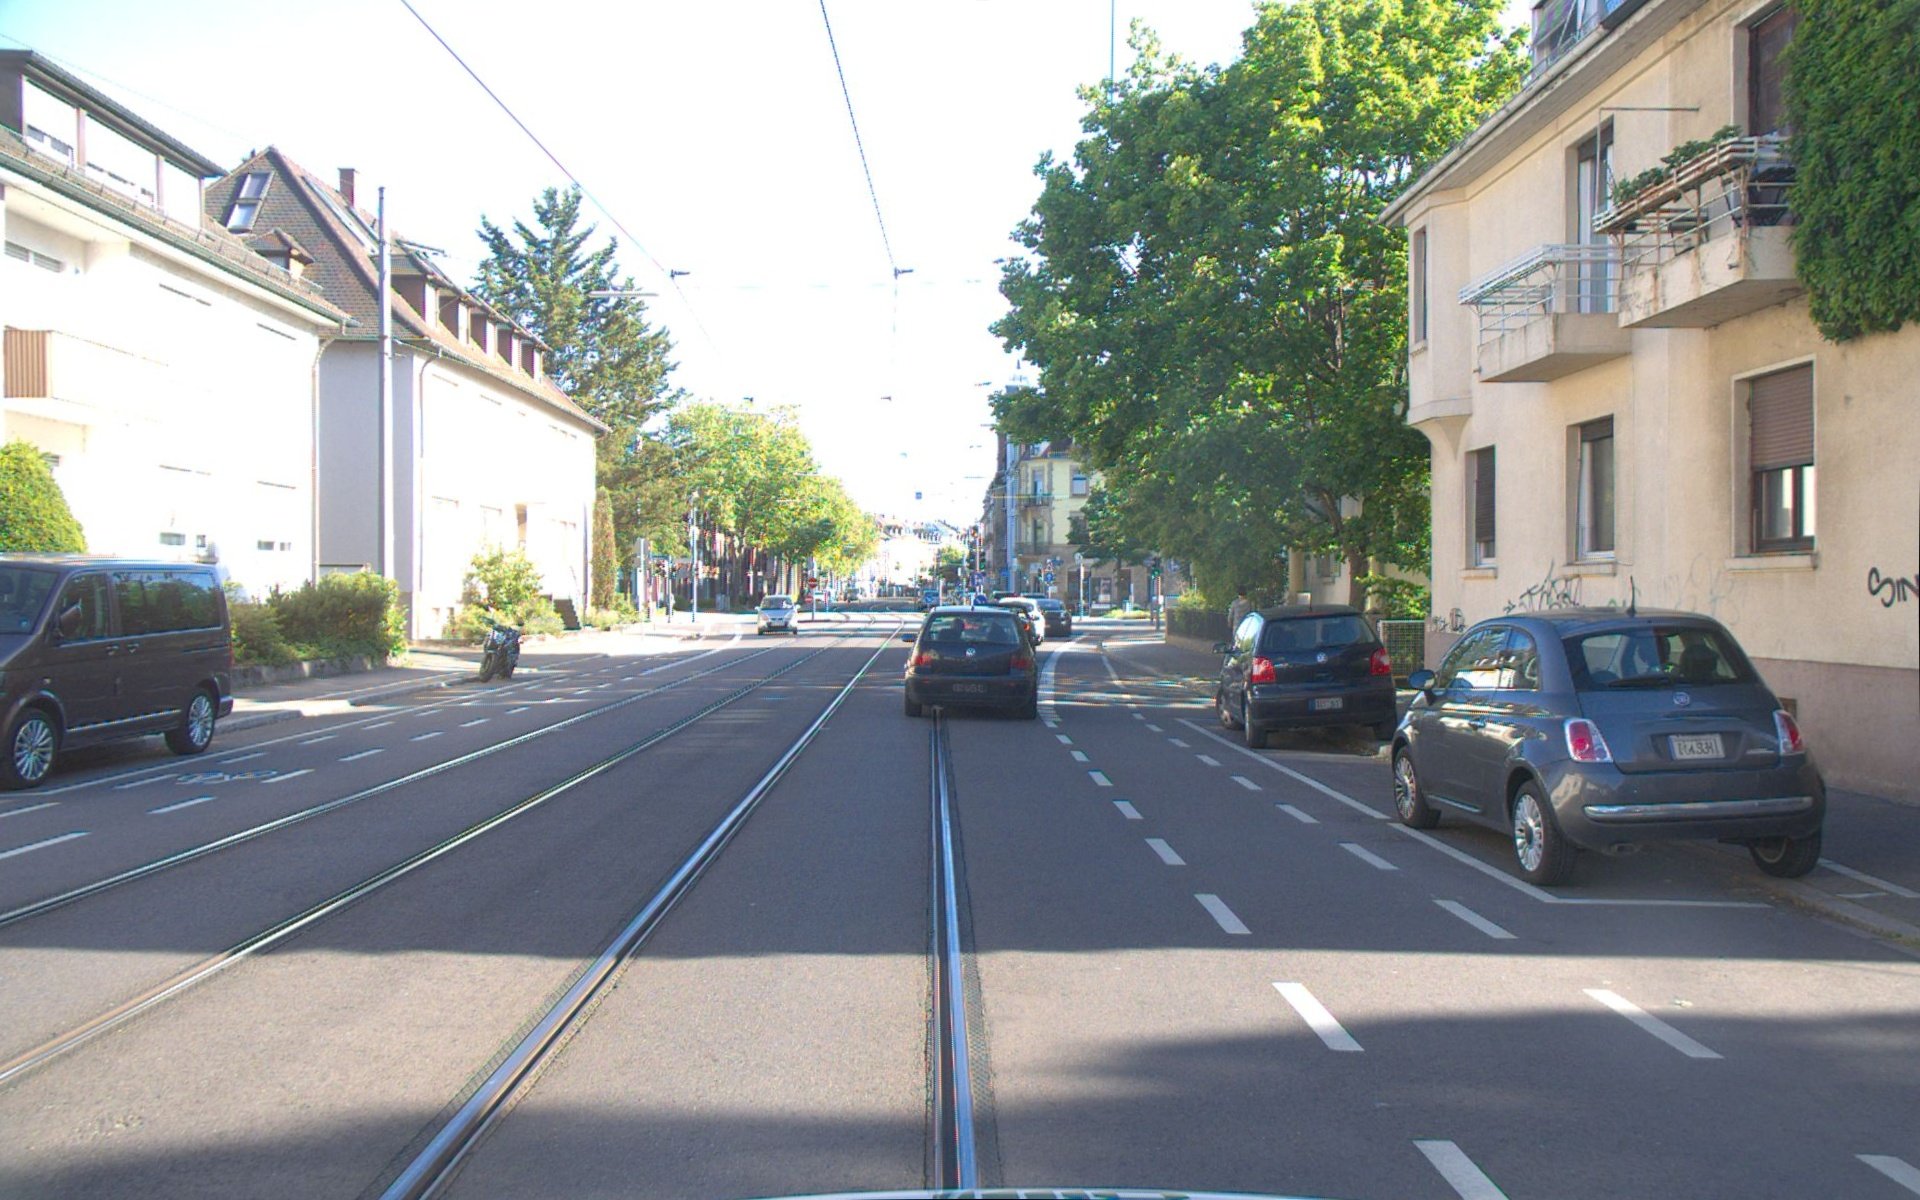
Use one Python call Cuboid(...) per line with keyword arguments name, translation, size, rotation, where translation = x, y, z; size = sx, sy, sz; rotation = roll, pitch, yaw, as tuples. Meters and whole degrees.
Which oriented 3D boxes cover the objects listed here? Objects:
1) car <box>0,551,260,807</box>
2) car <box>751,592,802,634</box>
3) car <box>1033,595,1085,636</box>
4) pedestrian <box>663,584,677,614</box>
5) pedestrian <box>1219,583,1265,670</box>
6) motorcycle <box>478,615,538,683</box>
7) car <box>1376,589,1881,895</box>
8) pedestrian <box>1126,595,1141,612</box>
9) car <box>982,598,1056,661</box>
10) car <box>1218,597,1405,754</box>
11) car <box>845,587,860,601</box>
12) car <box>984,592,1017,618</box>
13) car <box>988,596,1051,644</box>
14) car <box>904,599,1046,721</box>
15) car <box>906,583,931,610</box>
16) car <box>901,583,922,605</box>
Cuboid(name="car", translation=(-8.583, 0.592, 15.510), size=(1.867, 2.049, 4.949), rotation=(1, 0, 0))
Cuboid(name="car", translation=(-6.888, 0.483, 62.267), size=(1.543, 1.503, 3.440), rotation=(-1, 0, -1))
Cuboid(name="car", translation=(3.712, 0.557, 62.307), size=(1.538, 1.334, 3.645), rotation=(0, 3, -3))
Cuboid(name="pedestrian", translation=(-17.033, -0.078, 97.075), size=(0.600, 1.719, 0.729), rotation=(2, 0, -19))
Cuboid(name="pedestrian", translation=(5.687, 0.530, 33.372), size=(0.703, 1.717, 0.870), rotation=(-1, 0, -2))
Cuboid(name="motorcycle", translation=(-8.495, 0.902, 31.174), size=(0.525, 1.183, 2.171), rotation=(-2, 0, -1))
Cuboid(name="car", translation=(3.924, 0.730, 10.361), size=(1.569, 1.552, 3.547), rotation=(1, 0, -3))
Cuboid(name="pedestrian", translation=(12.850, 0.256, 122.488), size=(0.960, 1.208, 0.743), rotation=(0, 0, -2))
Cuboid(name="car", translation=(1.365, 0.664, 39.317), size=(1.601, 1.396, 3.757), rotation=(0, 0, 0))
Cuboid(name="car", translation=(3.925, 0.781, 18.982), size=(1.630, 1.591, 3.773), rotation=(1, 0, 5))
Cuboid(name="car", translation=(-15.111, -0.869, 231.950), size=(1.933, 1.847, 4.292), rotation=(0, 0, -5))
Cuboid(name="car", translation=(2.309, 0.270, 95.299), size=(1.647, 1.479, 3.377), rotation=(0, 0, -3))
Cuboid(name="car", translation=(1.962, 0.615, 53.649), size=(1.703, 1.466, 3.812), rotation=(0, 0, 7))
Cuboid(name="car", translation=(0.187, 0.724, 21.973), size=(1.681, 1.427, 4.006), rotation=(1, 0, 0))
Cuboid(name="car", translation=(-3.119, -0.283, 124.542), size=(1.751, 1.892, 3.998), rotation=(2, 0, -3))
Cuboid(name="car", translation=(-4.244, -0.556, 145.211), size=(1.751, 1.892, 3.998), rotation=(0, 0, -3))
